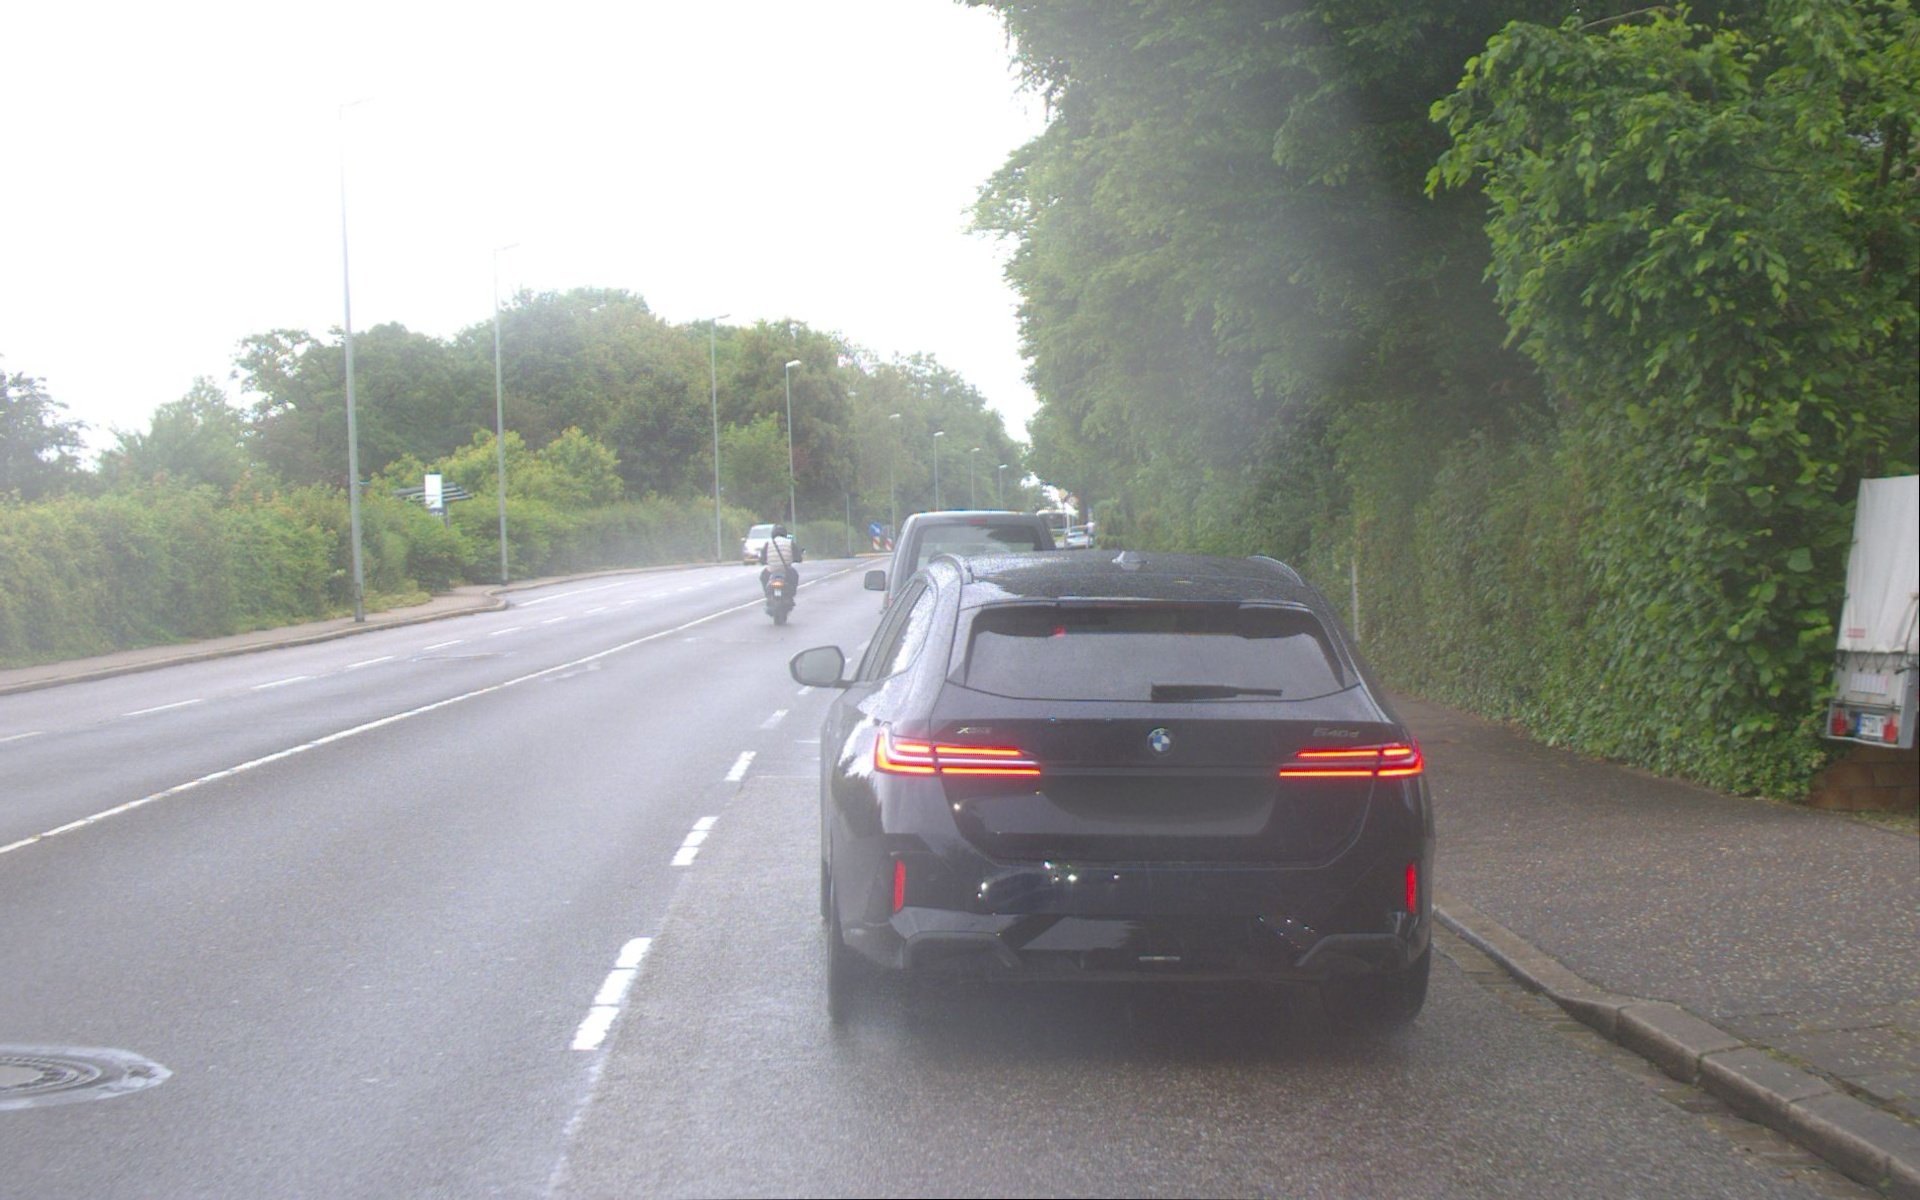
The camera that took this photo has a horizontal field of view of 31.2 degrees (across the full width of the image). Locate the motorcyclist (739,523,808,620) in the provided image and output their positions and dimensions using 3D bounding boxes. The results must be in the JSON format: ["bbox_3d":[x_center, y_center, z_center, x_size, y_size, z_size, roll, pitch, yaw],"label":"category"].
[{"bbox_3d":[-3.045,-0.469,56.195,1.039,1.562,0.855,1,0,1],"label":"motorcyclist"}]

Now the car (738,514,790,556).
[{"bbox_3d":[-7.703,-2.561,135.143,1.756,1.563,4.000,-3,1,0],"label":"car"}]

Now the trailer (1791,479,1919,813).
[{"bbox_3d":[5.876,0.362,17.017,2.980,1.565,1.489,6,0,-3],"label":"trailer"}]

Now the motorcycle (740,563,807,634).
[{"bbox_3d":[-3.043,-0.040,56.379,0.876,1.120,2.741,1,1,1],"label":"motorcycle"}]

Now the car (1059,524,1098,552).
[{"bbox_3d":[6.517,-3.419,188.943,1.936,1.437,4.407,-2,1,4],"label":"car"}]

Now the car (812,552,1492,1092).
[{"bbox_3d":[0.620,0.595,11.696,1.897,1.484,4.000,1,1,2],"label":"car"}]

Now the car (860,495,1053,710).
[{"bbox_3d":[0.012,-0.028,32.112,1.629,1.827,4.000,-2,1,1],"label":"car"}]
